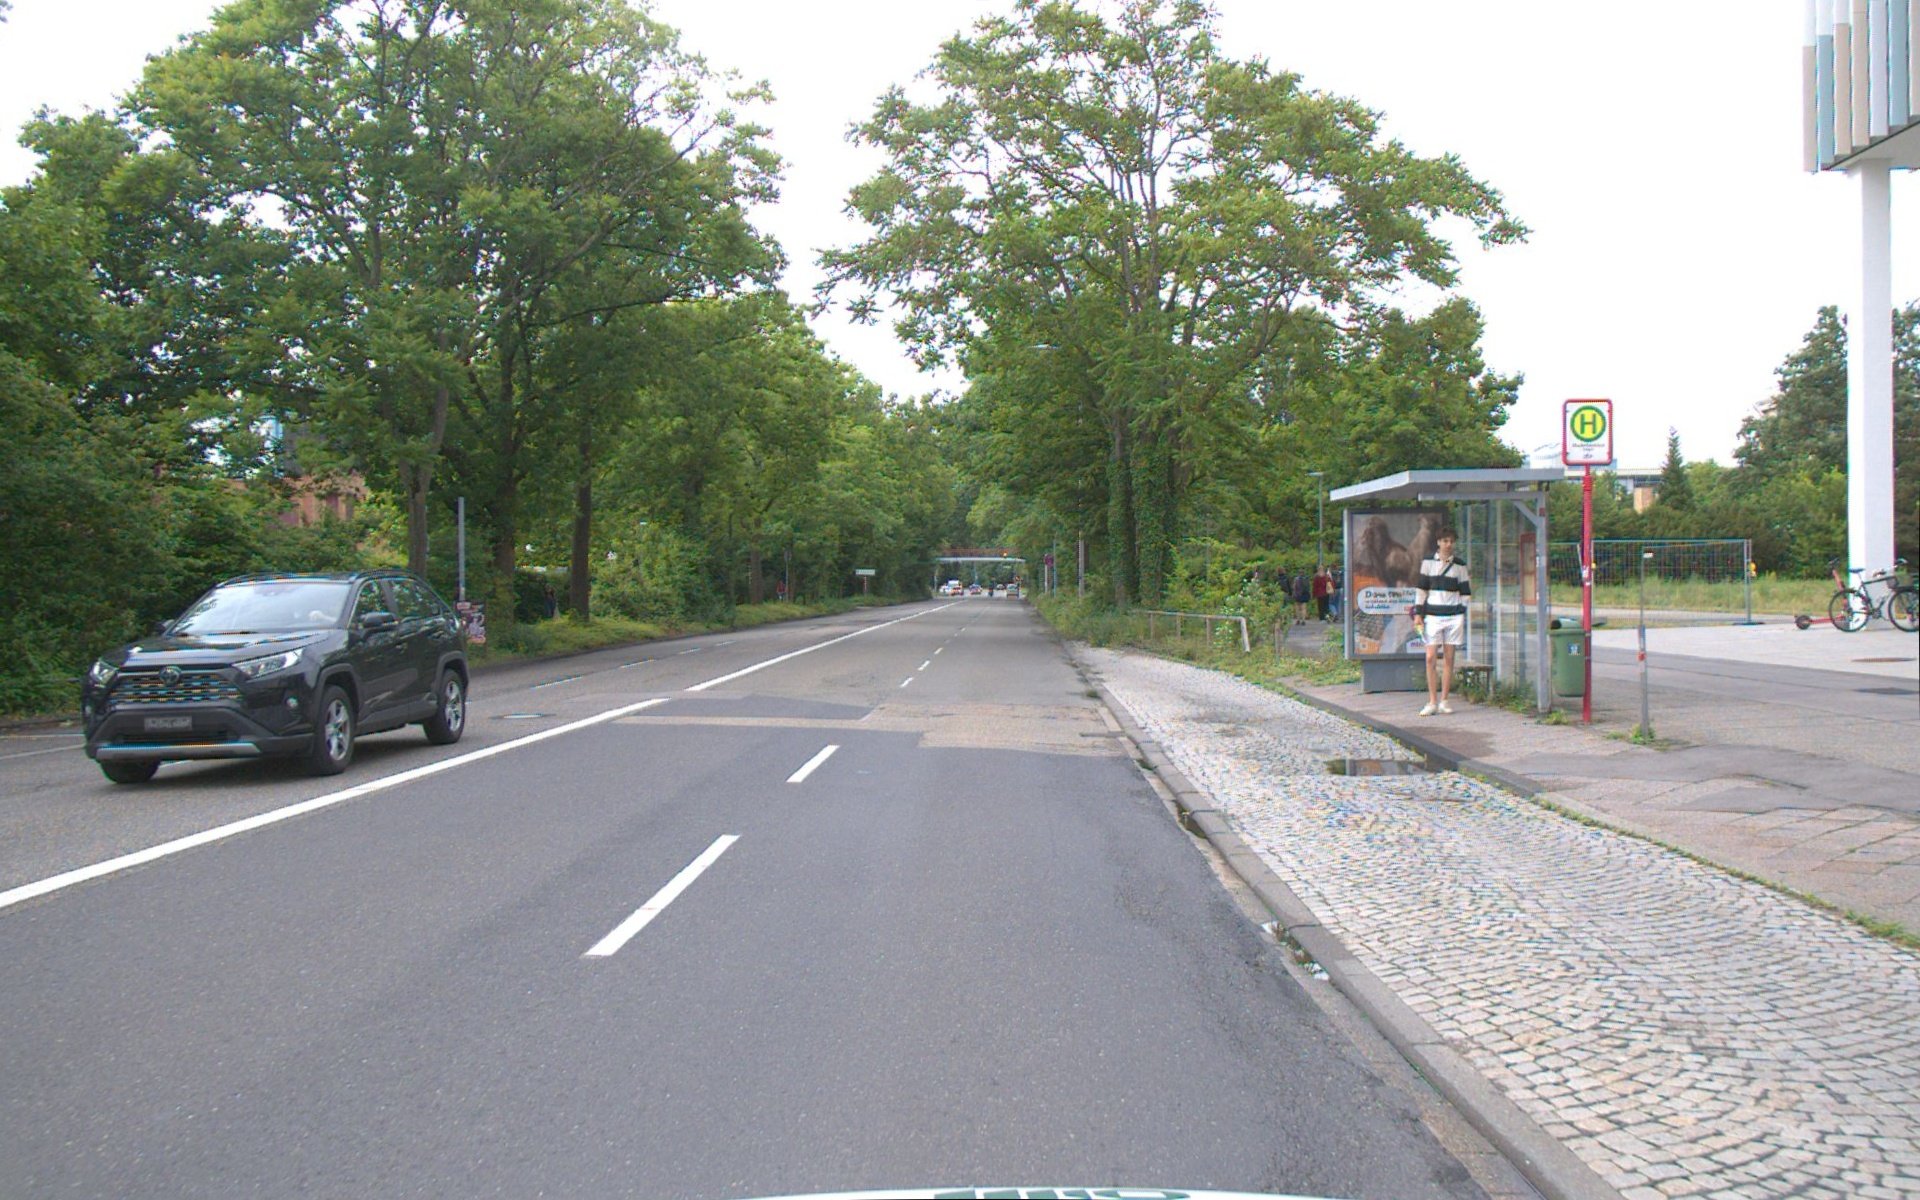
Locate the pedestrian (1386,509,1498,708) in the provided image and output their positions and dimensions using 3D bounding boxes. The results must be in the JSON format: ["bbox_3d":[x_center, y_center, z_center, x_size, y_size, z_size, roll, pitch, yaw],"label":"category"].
[{"bbox_3d":[5.175,0.070,17.812,0.893,2.048,0.854,-3,2,1],"label":"pedestrian"}]

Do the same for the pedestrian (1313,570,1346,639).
[{"bbox_3d":[11.235,0.127,50.300,0.807,2.049,0.720,-2,0,1],"label":"pedestrian"}]

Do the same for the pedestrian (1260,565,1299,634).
[{"bbox_3d":[9.709,-0.024,50.366,0.907,2.049,1.039,-1,0,-3],"label":"pedestrian"}]

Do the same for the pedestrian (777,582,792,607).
[{"bbox_3d":[-11.331,-0.364,106.785,0.775,1.641,0.848,1,0,2],"label":"pedestrian"}]

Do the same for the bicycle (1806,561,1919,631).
[{"bbox_3d":[15.713,-0.076,28.652,1.758,1.100,0.626,-3,0,0],"label":"bicycle"}]

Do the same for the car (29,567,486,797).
[{"bbox_3d":[-5.741,0.582,14.249,1.863,1.621,4.517,-1,0,2],"label":"car"}]

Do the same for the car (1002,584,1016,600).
[{"bbox_3d":[6.486,-1.046,217.265,1.805,2.049,4.001,1,1,2],"label":"car"}]

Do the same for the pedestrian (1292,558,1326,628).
[{"bbox_3d":[10.463,-0.222,49.628,0.807,2.049,0.720,-2,0,1],"label":"pedestrian"}]

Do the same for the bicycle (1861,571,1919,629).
[{"bbox_3d":[15.493,-0.019,26.678,1.573,0.890,0.556,-2,0,2],"label":"bicycle"}]

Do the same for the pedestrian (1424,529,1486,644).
[{"bbox_3d":[9.005,-0.246,30.101,0.825,2.049,0.894,-1,0,1],"label":"pedestrian"}]

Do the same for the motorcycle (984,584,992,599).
[{"bbox_3d":[3.788,-1.162,220.840,0.969,1.970,2.670,1,0,2],"label":"motorcycle"}]

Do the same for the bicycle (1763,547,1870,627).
[{"bbox_3d":[15.719,-0.235,30.375,1.612,1.356,0.463,-3,0,15],"label":"bicycle"}]

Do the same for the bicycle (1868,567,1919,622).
[{"bbox_3d":[16.049,-0.107,27.517,1.574,0.890,0.556,-1,0,-2],"label":"bicycle"}]
